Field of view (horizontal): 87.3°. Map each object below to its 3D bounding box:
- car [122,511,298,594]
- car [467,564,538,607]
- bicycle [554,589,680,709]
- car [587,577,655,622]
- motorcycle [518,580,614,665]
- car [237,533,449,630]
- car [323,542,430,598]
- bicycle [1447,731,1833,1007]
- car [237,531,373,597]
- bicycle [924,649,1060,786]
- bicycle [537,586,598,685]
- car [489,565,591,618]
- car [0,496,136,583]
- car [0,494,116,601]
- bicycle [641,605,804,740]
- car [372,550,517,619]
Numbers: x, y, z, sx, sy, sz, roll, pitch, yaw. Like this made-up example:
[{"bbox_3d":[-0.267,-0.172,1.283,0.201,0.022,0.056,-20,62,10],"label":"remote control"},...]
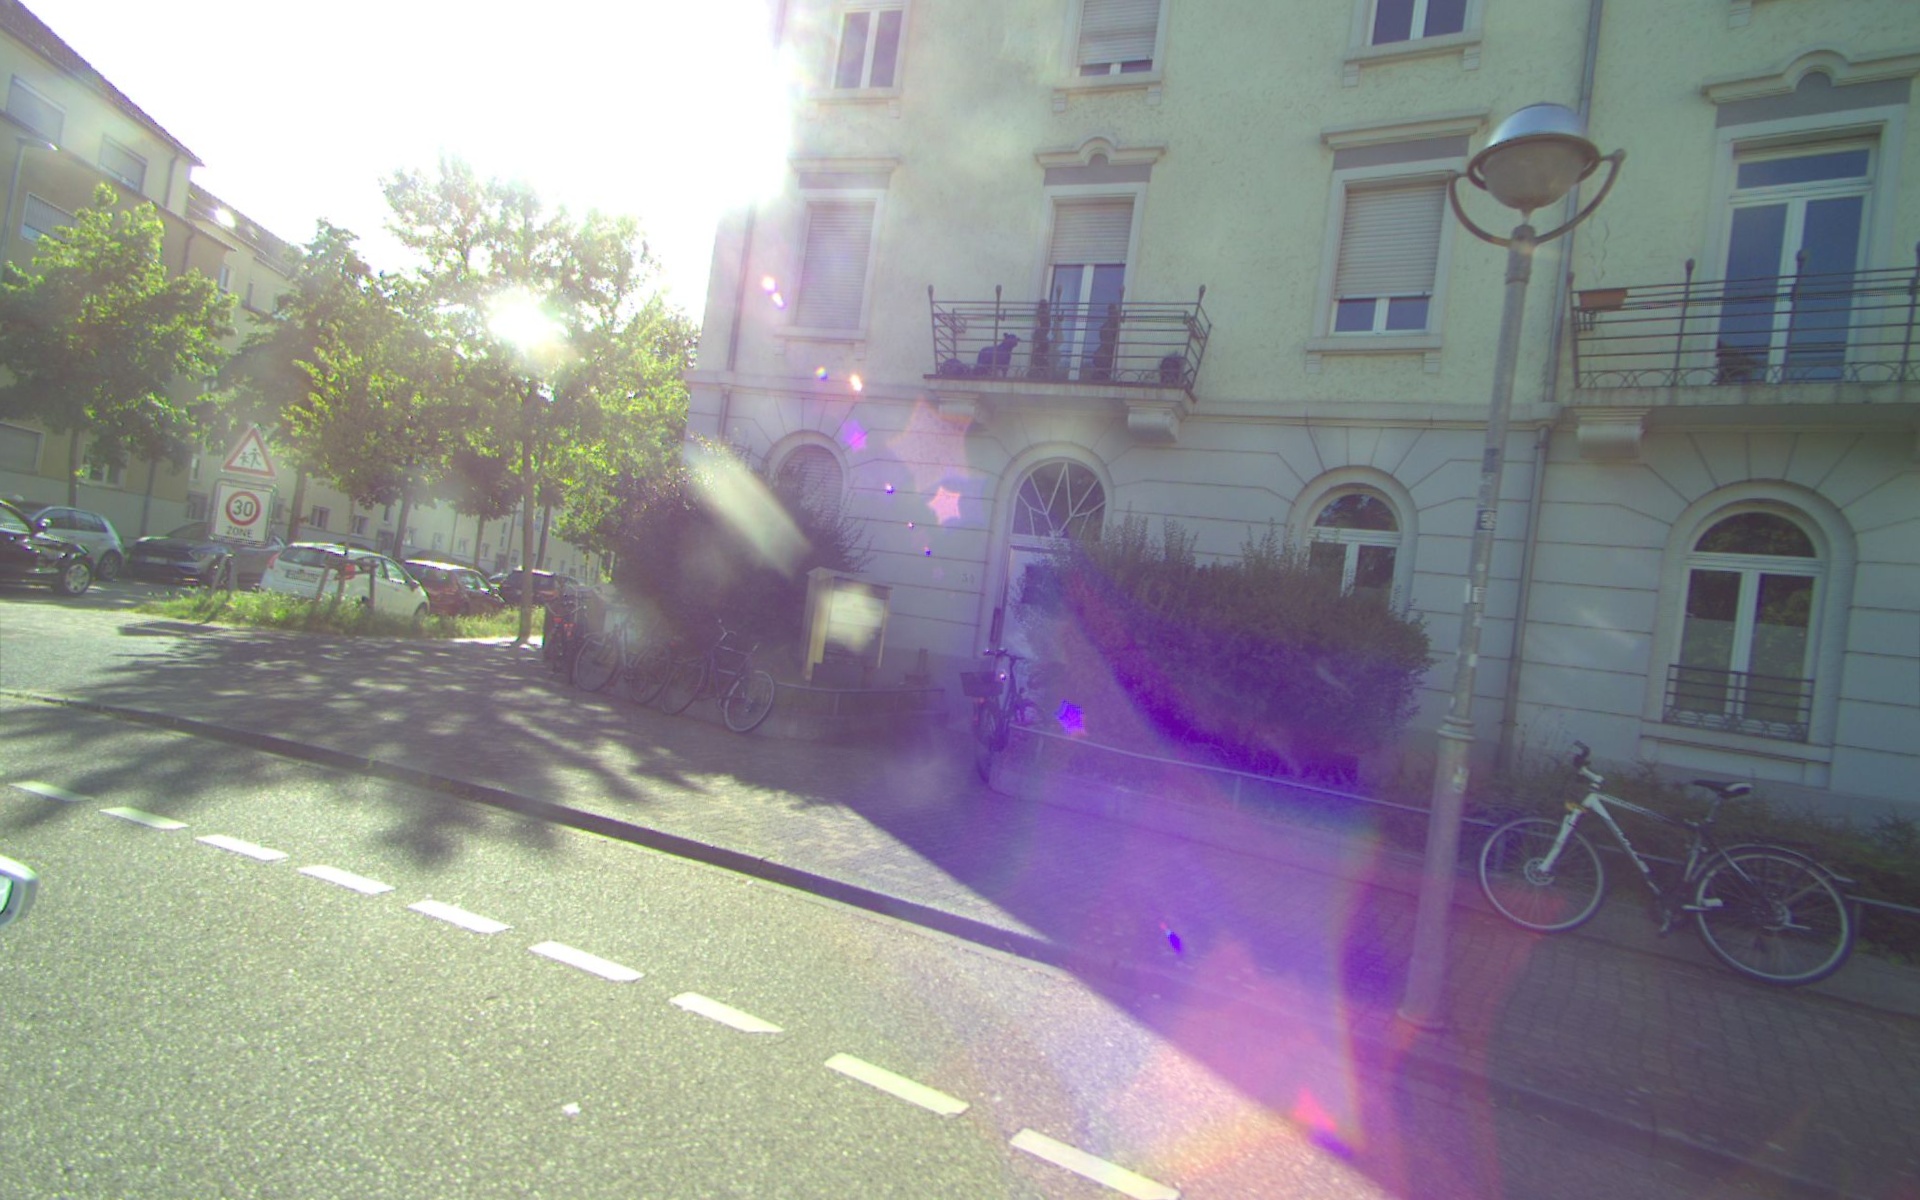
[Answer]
[{"bbox_3d":[-19.112,-1.140,25.889,1.769,1.593,3.998,8,-2,-8],"label":"car"},{"bbox_3d":[-21.382,-0.650,47.189,1.769,1.593,3.998,8,-2,-8],"label":"car"},{"bbox_3d":[-3.923,0.531,11.414,1.777,1.121,0.497,7,-1,45],"label":"bicycle"},{"bbox_3d":[-13.640,0.028,40.677,1.769,1.527,3.997,8,-2,-8],"label":"car"},{"bbox_3d":[-6.219,0.357,15.965,0.872,1.206,1.490,6,-1,-3],"label":"motorcycle"},{"bbox_3d":[-11.875,-0.268,19.721,1.768,1.428,4.000,8,-2,-5],"label":"car"},{"bbox_3d":[-20.570,-1.007,35.650,1.769,1.527,3.997,8,-2,-8],"label":"car"},{"bbox_3d":[3.801,1.438,5.746,1.661,1.101,0.501,7,0,38],"label":"bicycle"},{"bbox_3d":[-19.697,-1.009,30.482,1.769,1.527,3.997,8,-2,-8],"label":"car"},{"bbox_3d":[0.346,1.084,9.524,0.491,1.121,1.681,7,-1,27],"label":"bicycle"},{"bbox_3d":[-5.198,0.426,13.256,0.494,1.120,1.939,8,-1,-25],"label":"bicycle"},{"bbox_3d":[-12.843,-0.200,31.016,1.769,1.270,3.718,8,-2,-6],"label":"car"},{"bbox_3d":[-18.626,-1.259,19.800,1.773,1.427,3.998,8,-2,-8],"label":"car"},{"bbox_3d":[-14.236,-0.881,14.044,1.840,1.435,3.995,9,-2,-10],"label":"car"},{"bbox_3d":[-2.446,0.713,10.238,1.773,1.121,0.498,7,-1,39],"label":"bicycle"},{"bbox_3d":[-12.302,-0.302,24.296,1.769,1.270,3.718,8,-2,-6],"label":"car"}]
